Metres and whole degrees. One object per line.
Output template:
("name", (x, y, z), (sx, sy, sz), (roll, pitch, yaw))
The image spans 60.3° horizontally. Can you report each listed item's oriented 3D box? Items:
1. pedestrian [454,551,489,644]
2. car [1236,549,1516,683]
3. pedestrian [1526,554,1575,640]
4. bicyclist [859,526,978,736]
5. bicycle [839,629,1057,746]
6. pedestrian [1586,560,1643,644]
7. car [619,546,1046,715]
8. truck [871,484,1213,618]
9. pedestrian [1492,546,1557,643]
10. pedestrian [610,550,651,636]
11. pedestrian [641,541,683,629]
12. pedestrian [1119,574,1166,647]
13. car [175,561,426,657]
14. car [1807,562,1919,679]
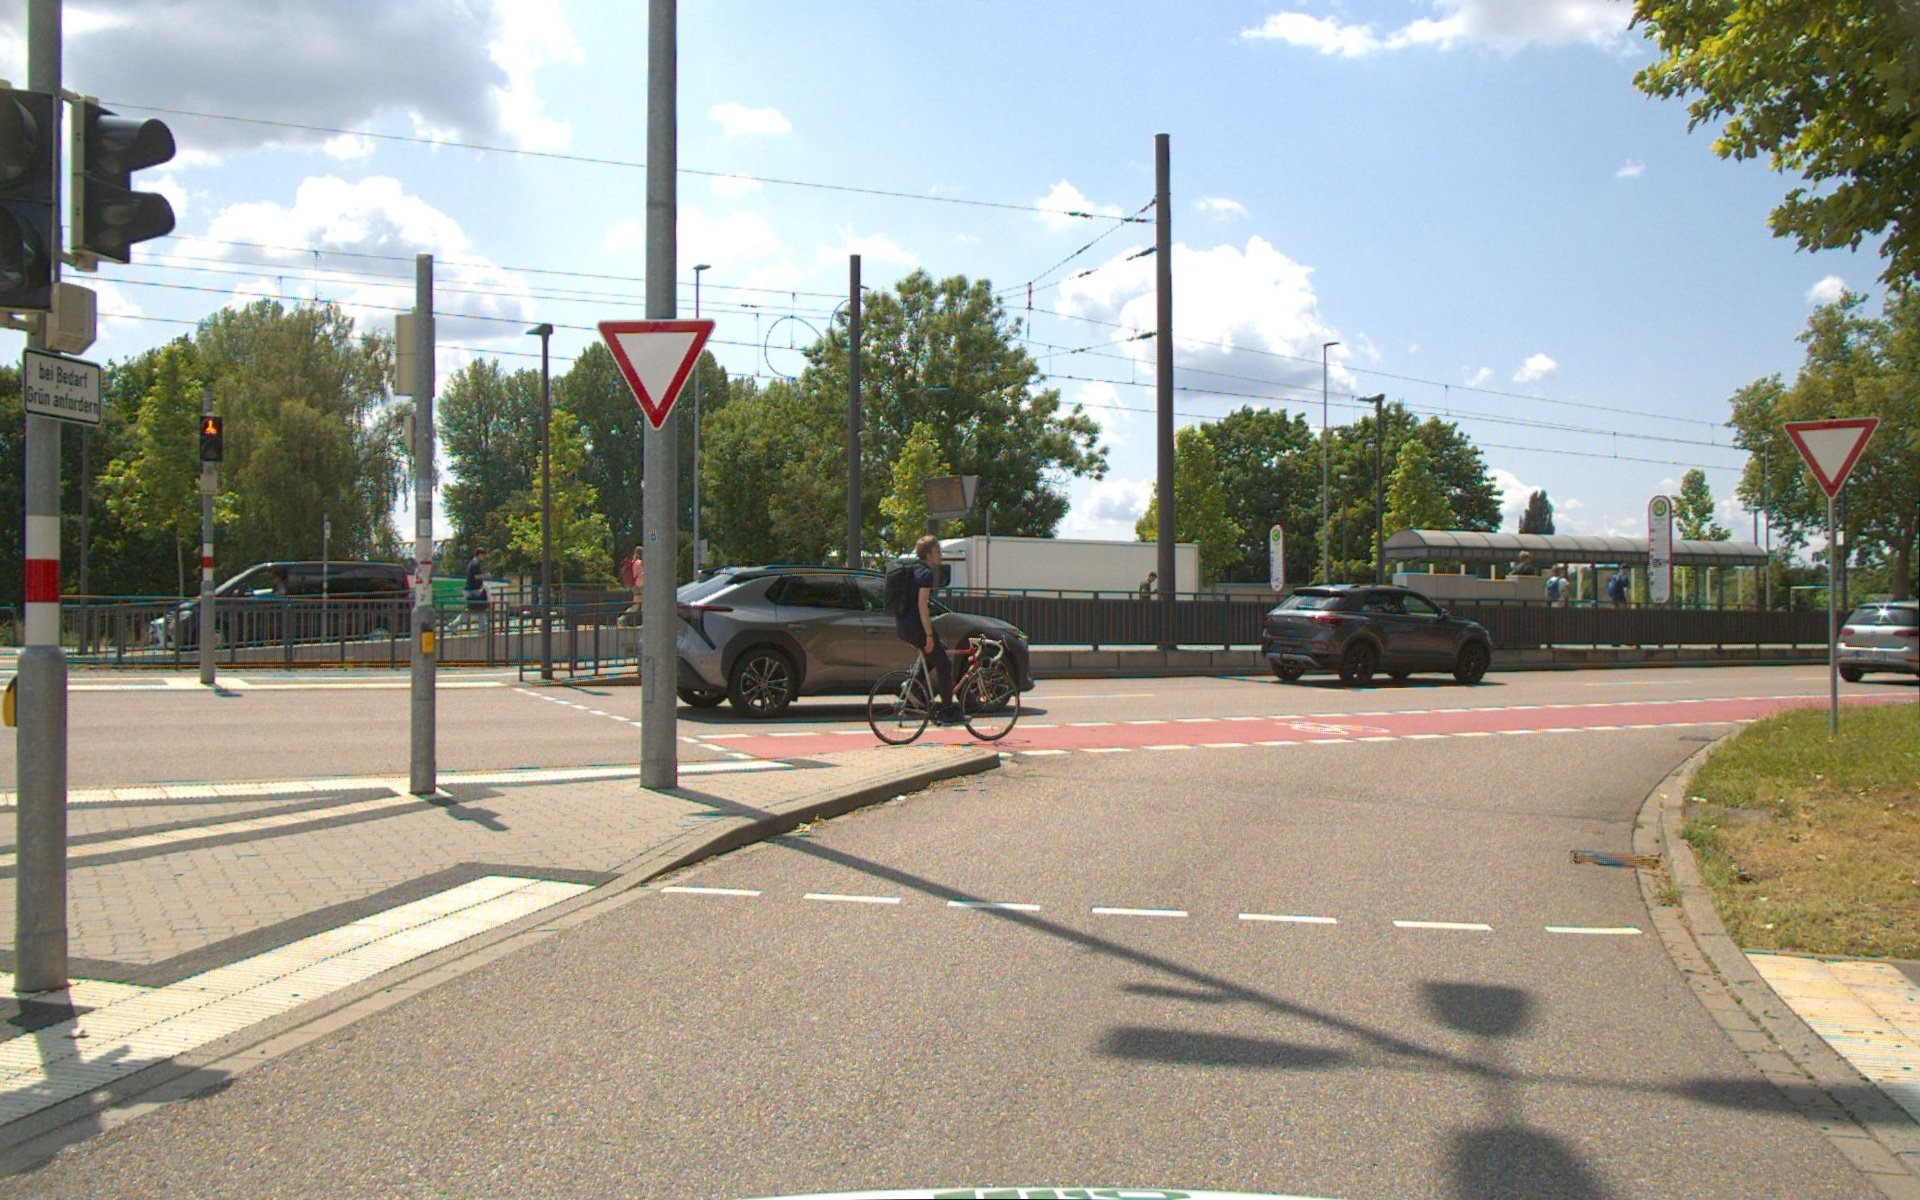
("pedestrian", (-9.332, -0.051, 31.590), (0.516, 1.751, 0.724), (0, 1, -26))
("car", (6.782, 0.270, 26.878), (4.304, 2.024, 1.979), (1, 0, -31))
("pedestrian", (13.230, -0.065, 37.057), (0.855, 1.904, 0.677), (0, 1, 1))
("bicyclist", (-0.382, 0.277, 15.317), (0.911, 1.878, 0.605), (1, 0, -31))
("bicycle", (-0.098, 0.806, 15.494), (1.996, 1.016, 0.616), (1, 1, -31))
("pedestrian", (14.072, 0.034, 35.588), (0.917, 1.786, 0.728), (0, 0, -31))
("car", (-1.399, 0.323, 18.666), (4.458, 1.704, 1.884), (1, 0, -31))
("truck", (2.932, -1.513, 55.643), (11.830, 4.176, 2.923), (0, 0, -30))
("pedestrian", (11.718, -0.126, 34.358), (0.981, 1.973, 0.867), (-1, 1, -31))
("pedestrian", (-6.805, -0.144, 34.141), (0.698, 1.751, 0.595), (-1, 1, -28))
("pedestrian", (-6.074, -0.305, 33.672), (0.668, 1.778, 0.631), (1, 1, -28))
("pedestrian", (4.651, 0.267, 42.196), (0.917, 1.839, 0.728), (0, 0, -31))
("car", (-13.565, 0.158, 34.087), (4.603, 1.852, 1.980), (0, 0, -31))
("car", (17.859, 0.334, 30.573), (4.304, 2.024, 1.979), (0, 0, -31))
